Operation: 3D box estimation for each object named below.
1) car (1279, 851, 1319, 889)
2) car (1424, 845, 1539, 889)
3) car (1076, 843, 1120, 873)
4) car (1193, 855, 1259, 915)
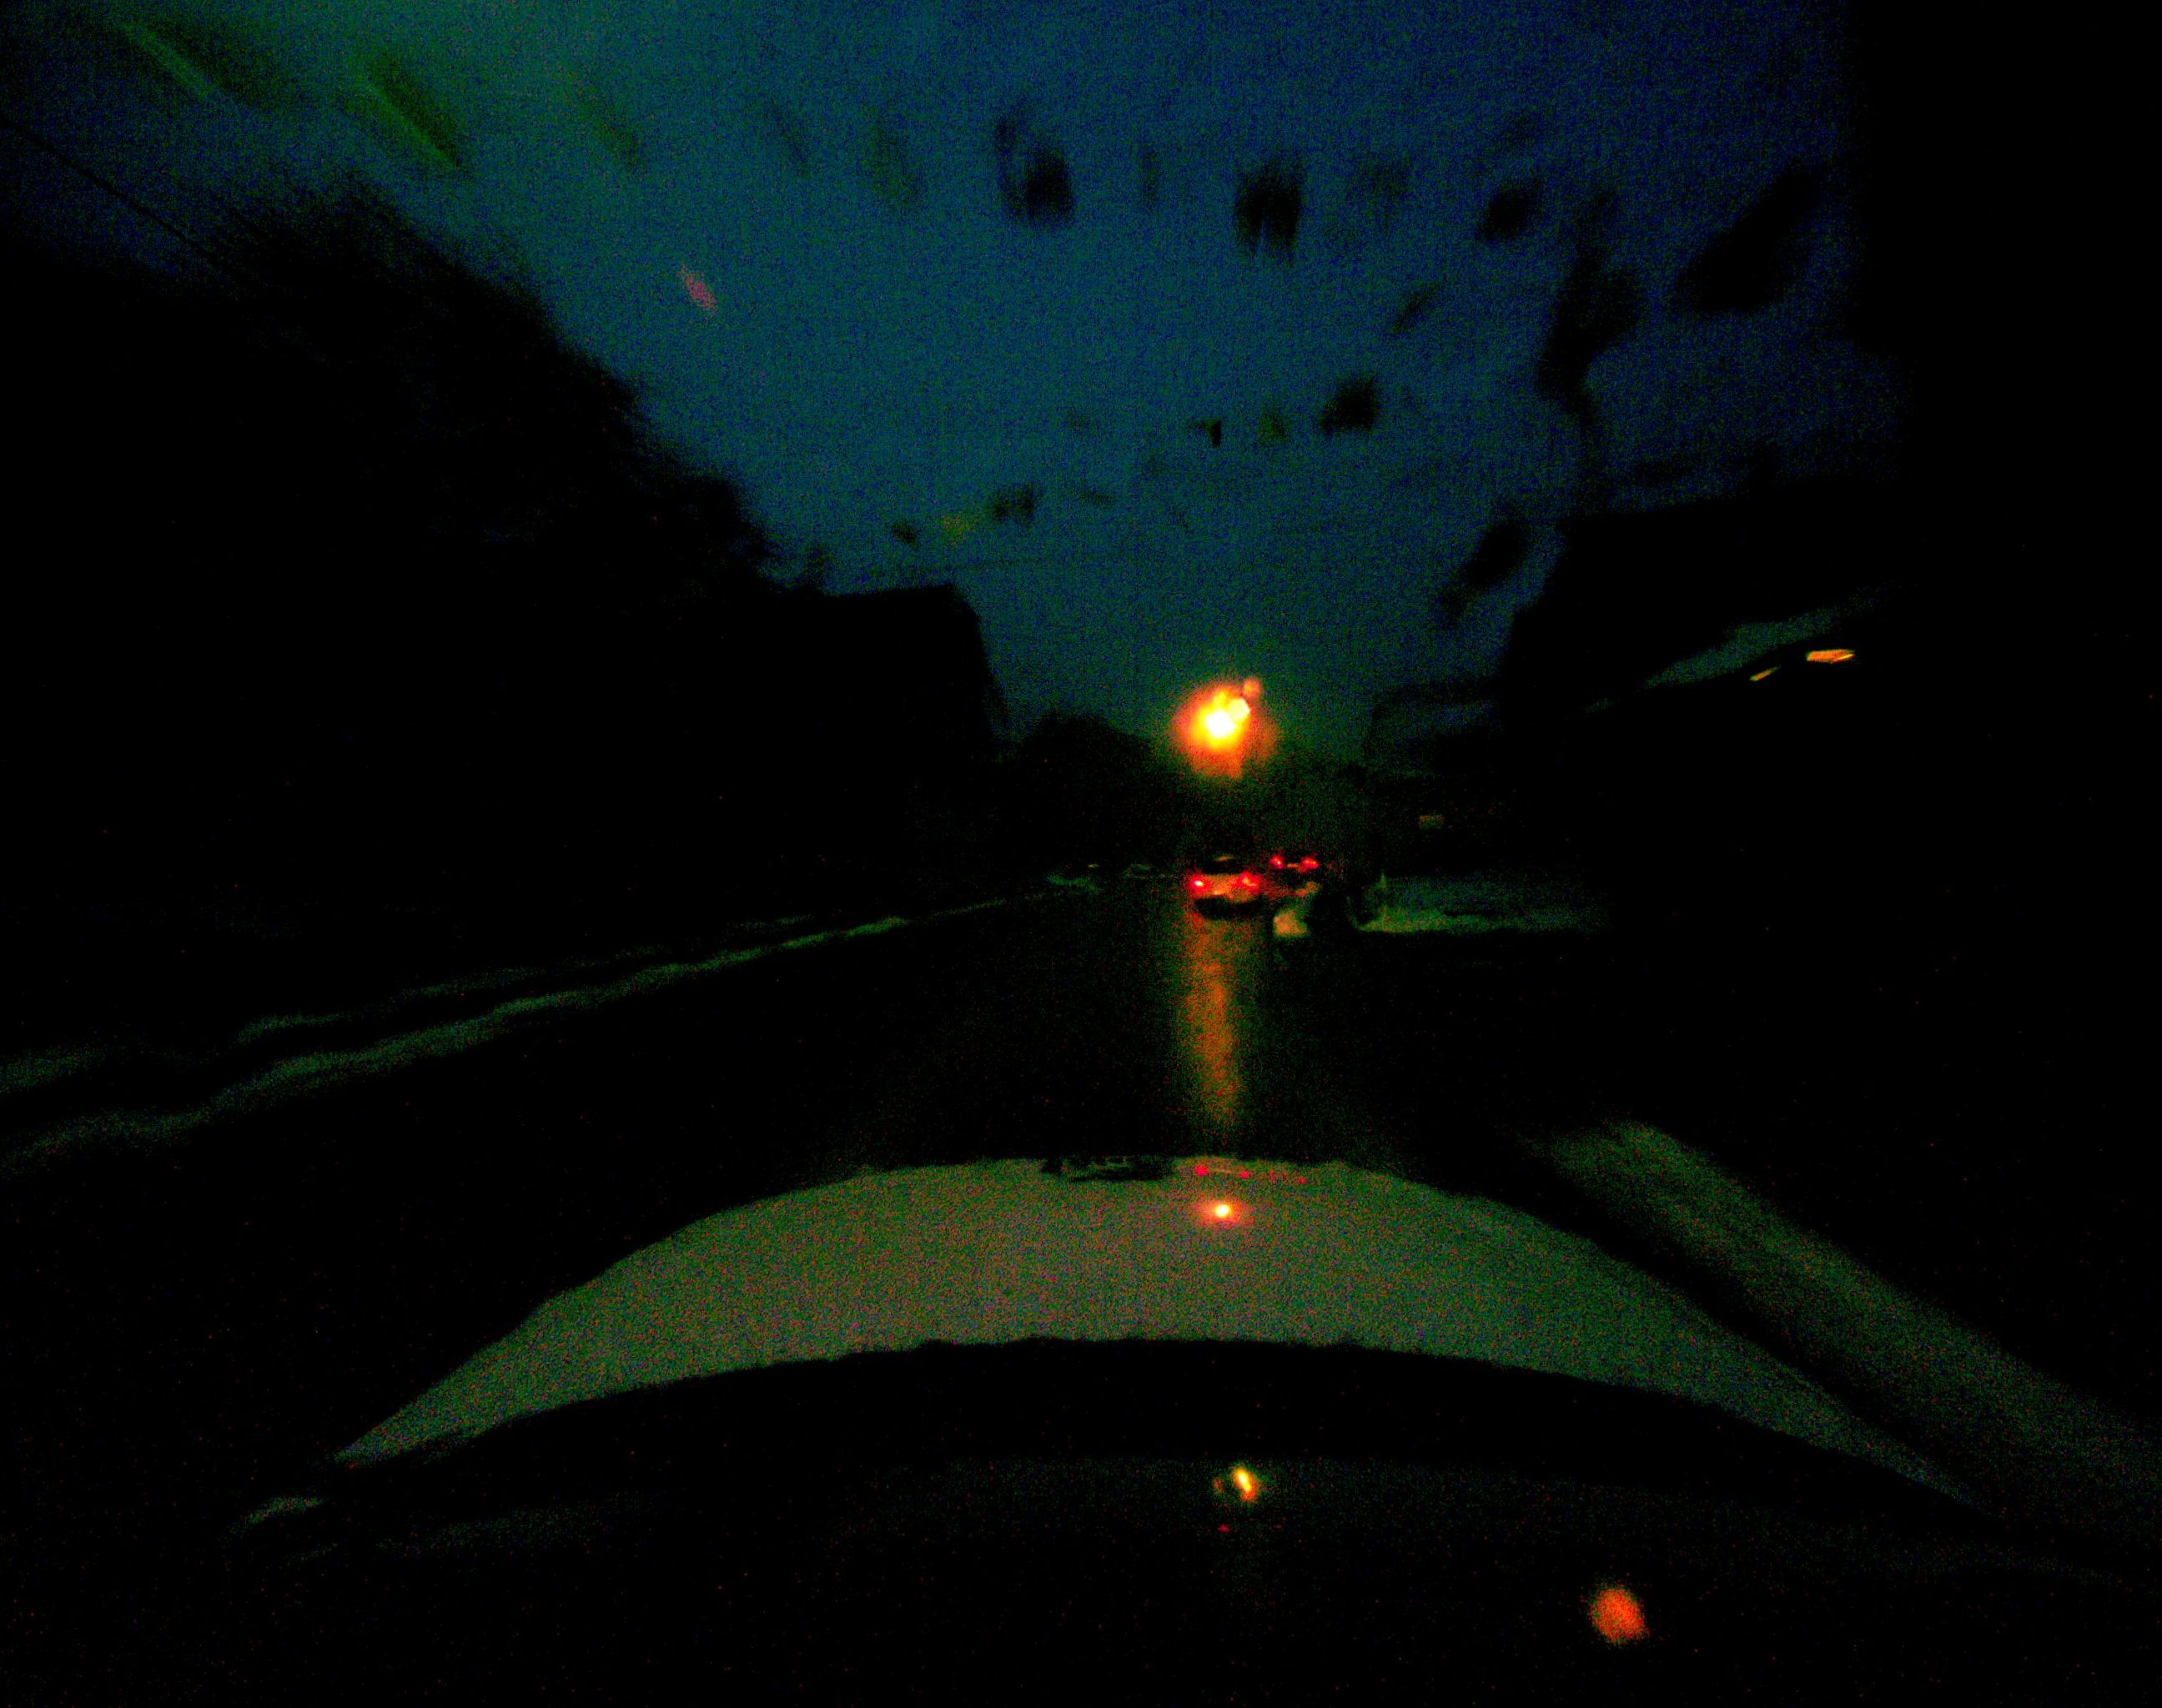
[{"bbox_3d":[9.750,0.688,36.515,1.633,1.596,3.713,0,0,14],"label":"car"},{"bbox_3d":[15.954,0.481,32.520,3.950,1.596,1.922,2,1,27],"label":"car"},{"bbox_3d":[0.951,0.211,42.664,1.863,1.504,4.008,1,0,7],"label":"car"},{"bbox_3d":[4.281,0.832,23.727,1.633,1.596,3.713,0,0,14],"label":"car"}]
